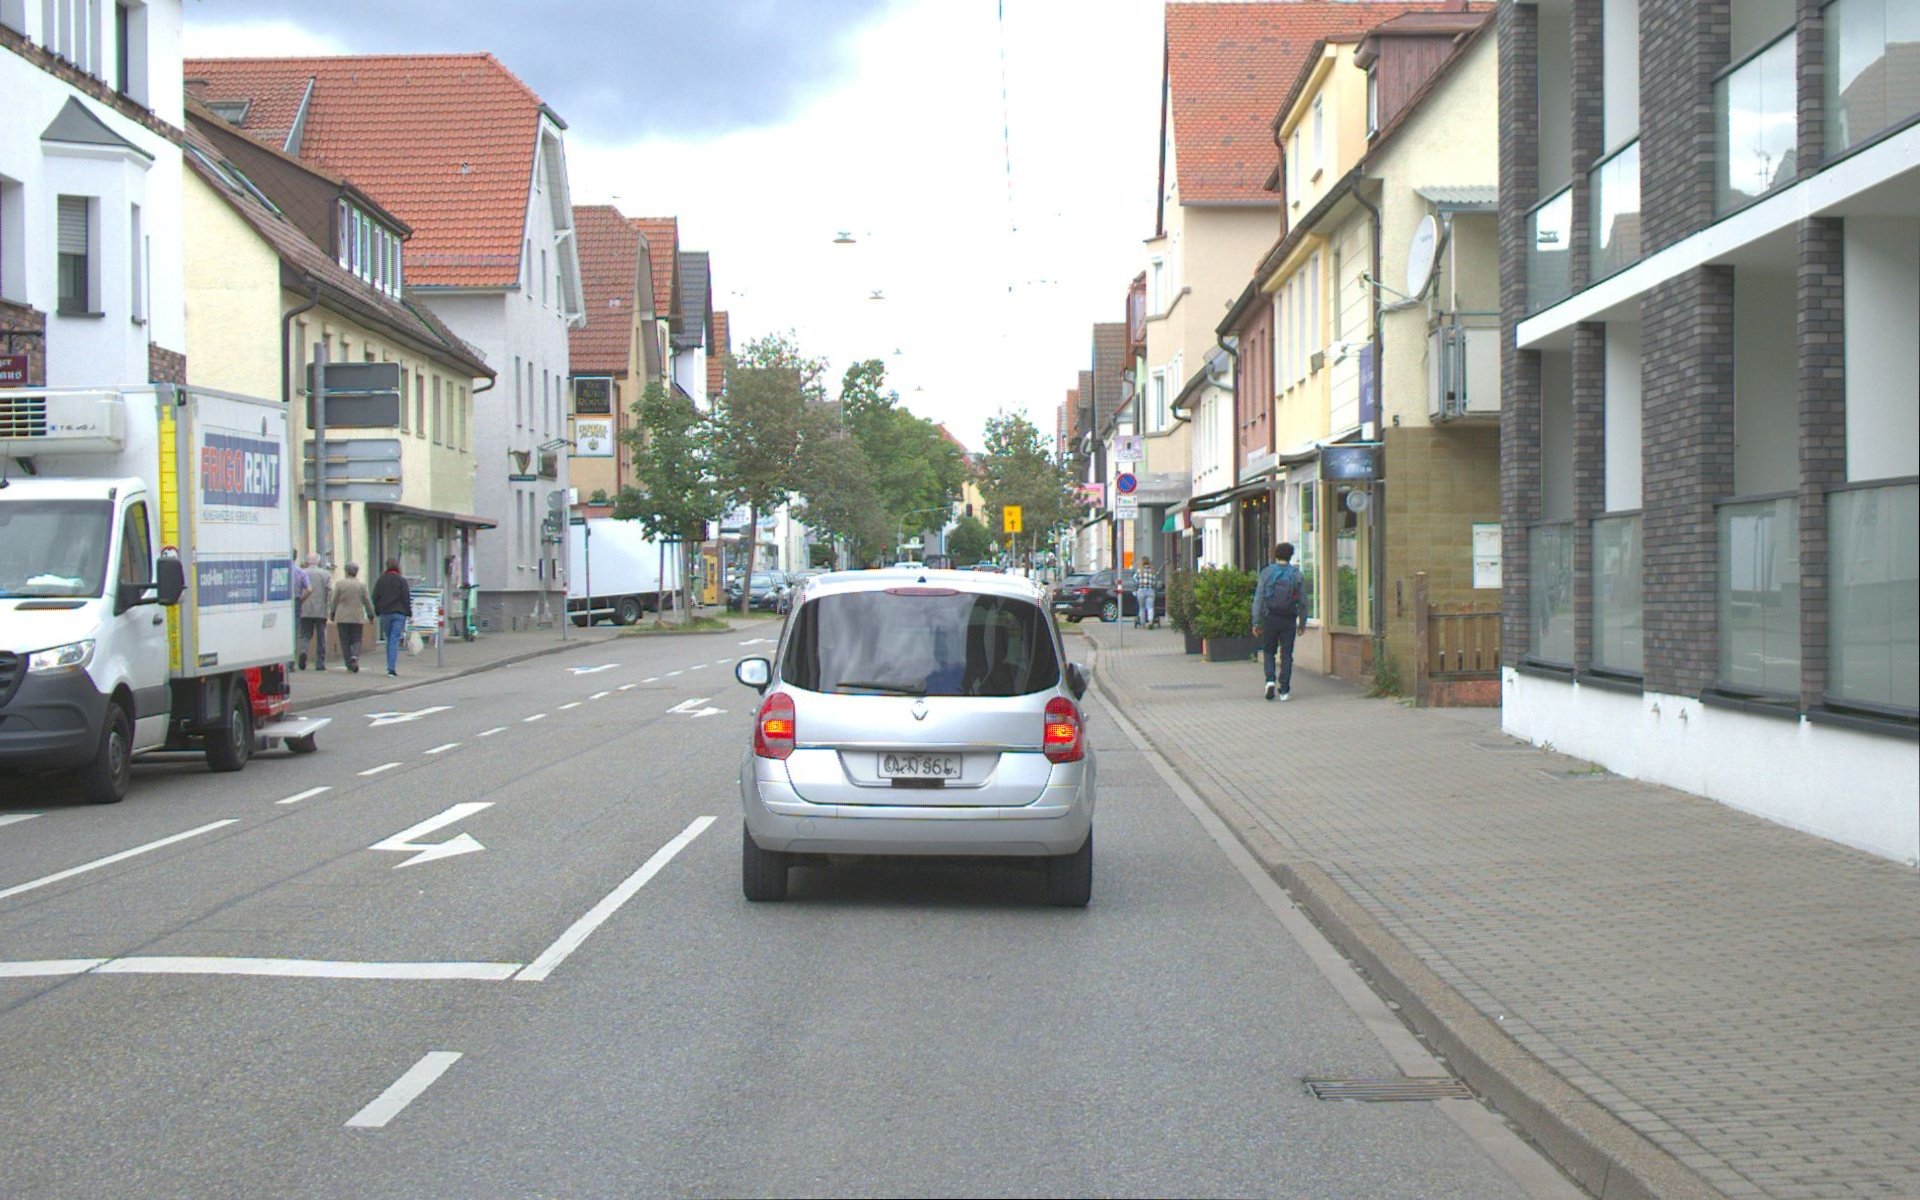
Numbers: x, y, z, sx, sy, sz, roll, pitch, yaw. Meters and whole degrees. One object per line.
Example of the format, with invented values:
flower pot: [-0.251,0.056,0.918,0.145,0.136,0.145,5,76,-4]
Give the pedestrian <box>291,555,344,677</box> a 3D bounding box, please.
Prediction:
pedestrian: [-9.350,0.226,50.036,0.579,1.751,0.688,2,0,1]

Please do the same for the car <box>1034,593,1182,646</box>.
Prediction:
car: [4.052,0.532,94.106,3.729,1.309,1.520,2,0,-20]

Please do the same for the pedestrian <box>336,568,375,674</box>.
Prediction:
pedestrian: [-8.772,0.299,49.872,0.426,1.520,0.553,2,0,1]

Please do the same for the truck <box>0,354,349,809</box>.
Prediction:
truck: [-6.709,-0.122,26.618,2.435,2.943,8.364,-2,0,0]

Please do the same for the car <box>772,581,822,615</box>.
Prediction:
car: [-6.629,-0.087,140.210,1.813,1.349,4.000,-1,0,1]

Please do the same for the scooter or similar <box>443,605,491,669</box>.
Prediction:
scooter or similar: [-10.121,0.746,70.646,0.575,1.265,2.548,-1,0,1]

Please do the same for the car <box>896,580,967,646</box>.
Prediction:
car: [-0.726,0.305,87.128,1.706,1.573,4.000,2,0,0]

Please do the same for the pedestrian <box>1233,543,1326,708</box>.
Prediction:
pedestrian: [3.548,0.280,38.247,0.889,1.781,0.785,-3,0,1]

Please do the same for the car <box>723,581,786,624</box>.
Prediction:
car: [-6.758,0.068,113.339,1.813,1.349,4.000,-1,0,1]

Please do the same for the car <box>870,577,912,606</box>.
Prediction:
car: [-3.232,-0.400,161.173,1.813,1.349,3.857,-1,0,1]

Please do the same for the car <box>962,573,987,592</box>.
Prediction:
car: [1.057,-1.271,247.471,1.813,1.349,4.000,-1,0,1]

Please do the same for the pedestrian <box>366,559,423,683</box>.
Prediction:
pedestrian: [-8.144,0.293,49.544,0.662,1.751,0.688,2,0,1]

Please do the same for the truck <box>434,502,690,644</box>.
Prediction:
truck: [-11.083,-0.779,96.184,6.829,3.844,2.603,-1,0,-42]

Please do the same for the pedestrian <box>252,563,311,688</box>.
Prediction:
pedestrian: [-9.638,0.357,48.834,0.648,1.751,0.688,2,0,1]

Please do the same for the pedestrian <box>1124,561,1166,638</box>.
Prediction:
pedestrian: [4.373,-0.012,81.250,0.889,1.781,0.785,-3,0,1]

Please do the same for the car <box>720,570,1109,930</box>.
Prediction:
car: [-0.216,0.668,17.522,1.706,1.573,4.000,2,0,0]

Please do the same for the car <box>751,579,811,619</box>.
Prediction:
car: [-6.146,-0.040,118.657,1.813,1.349,4.000,-1,0,1]
